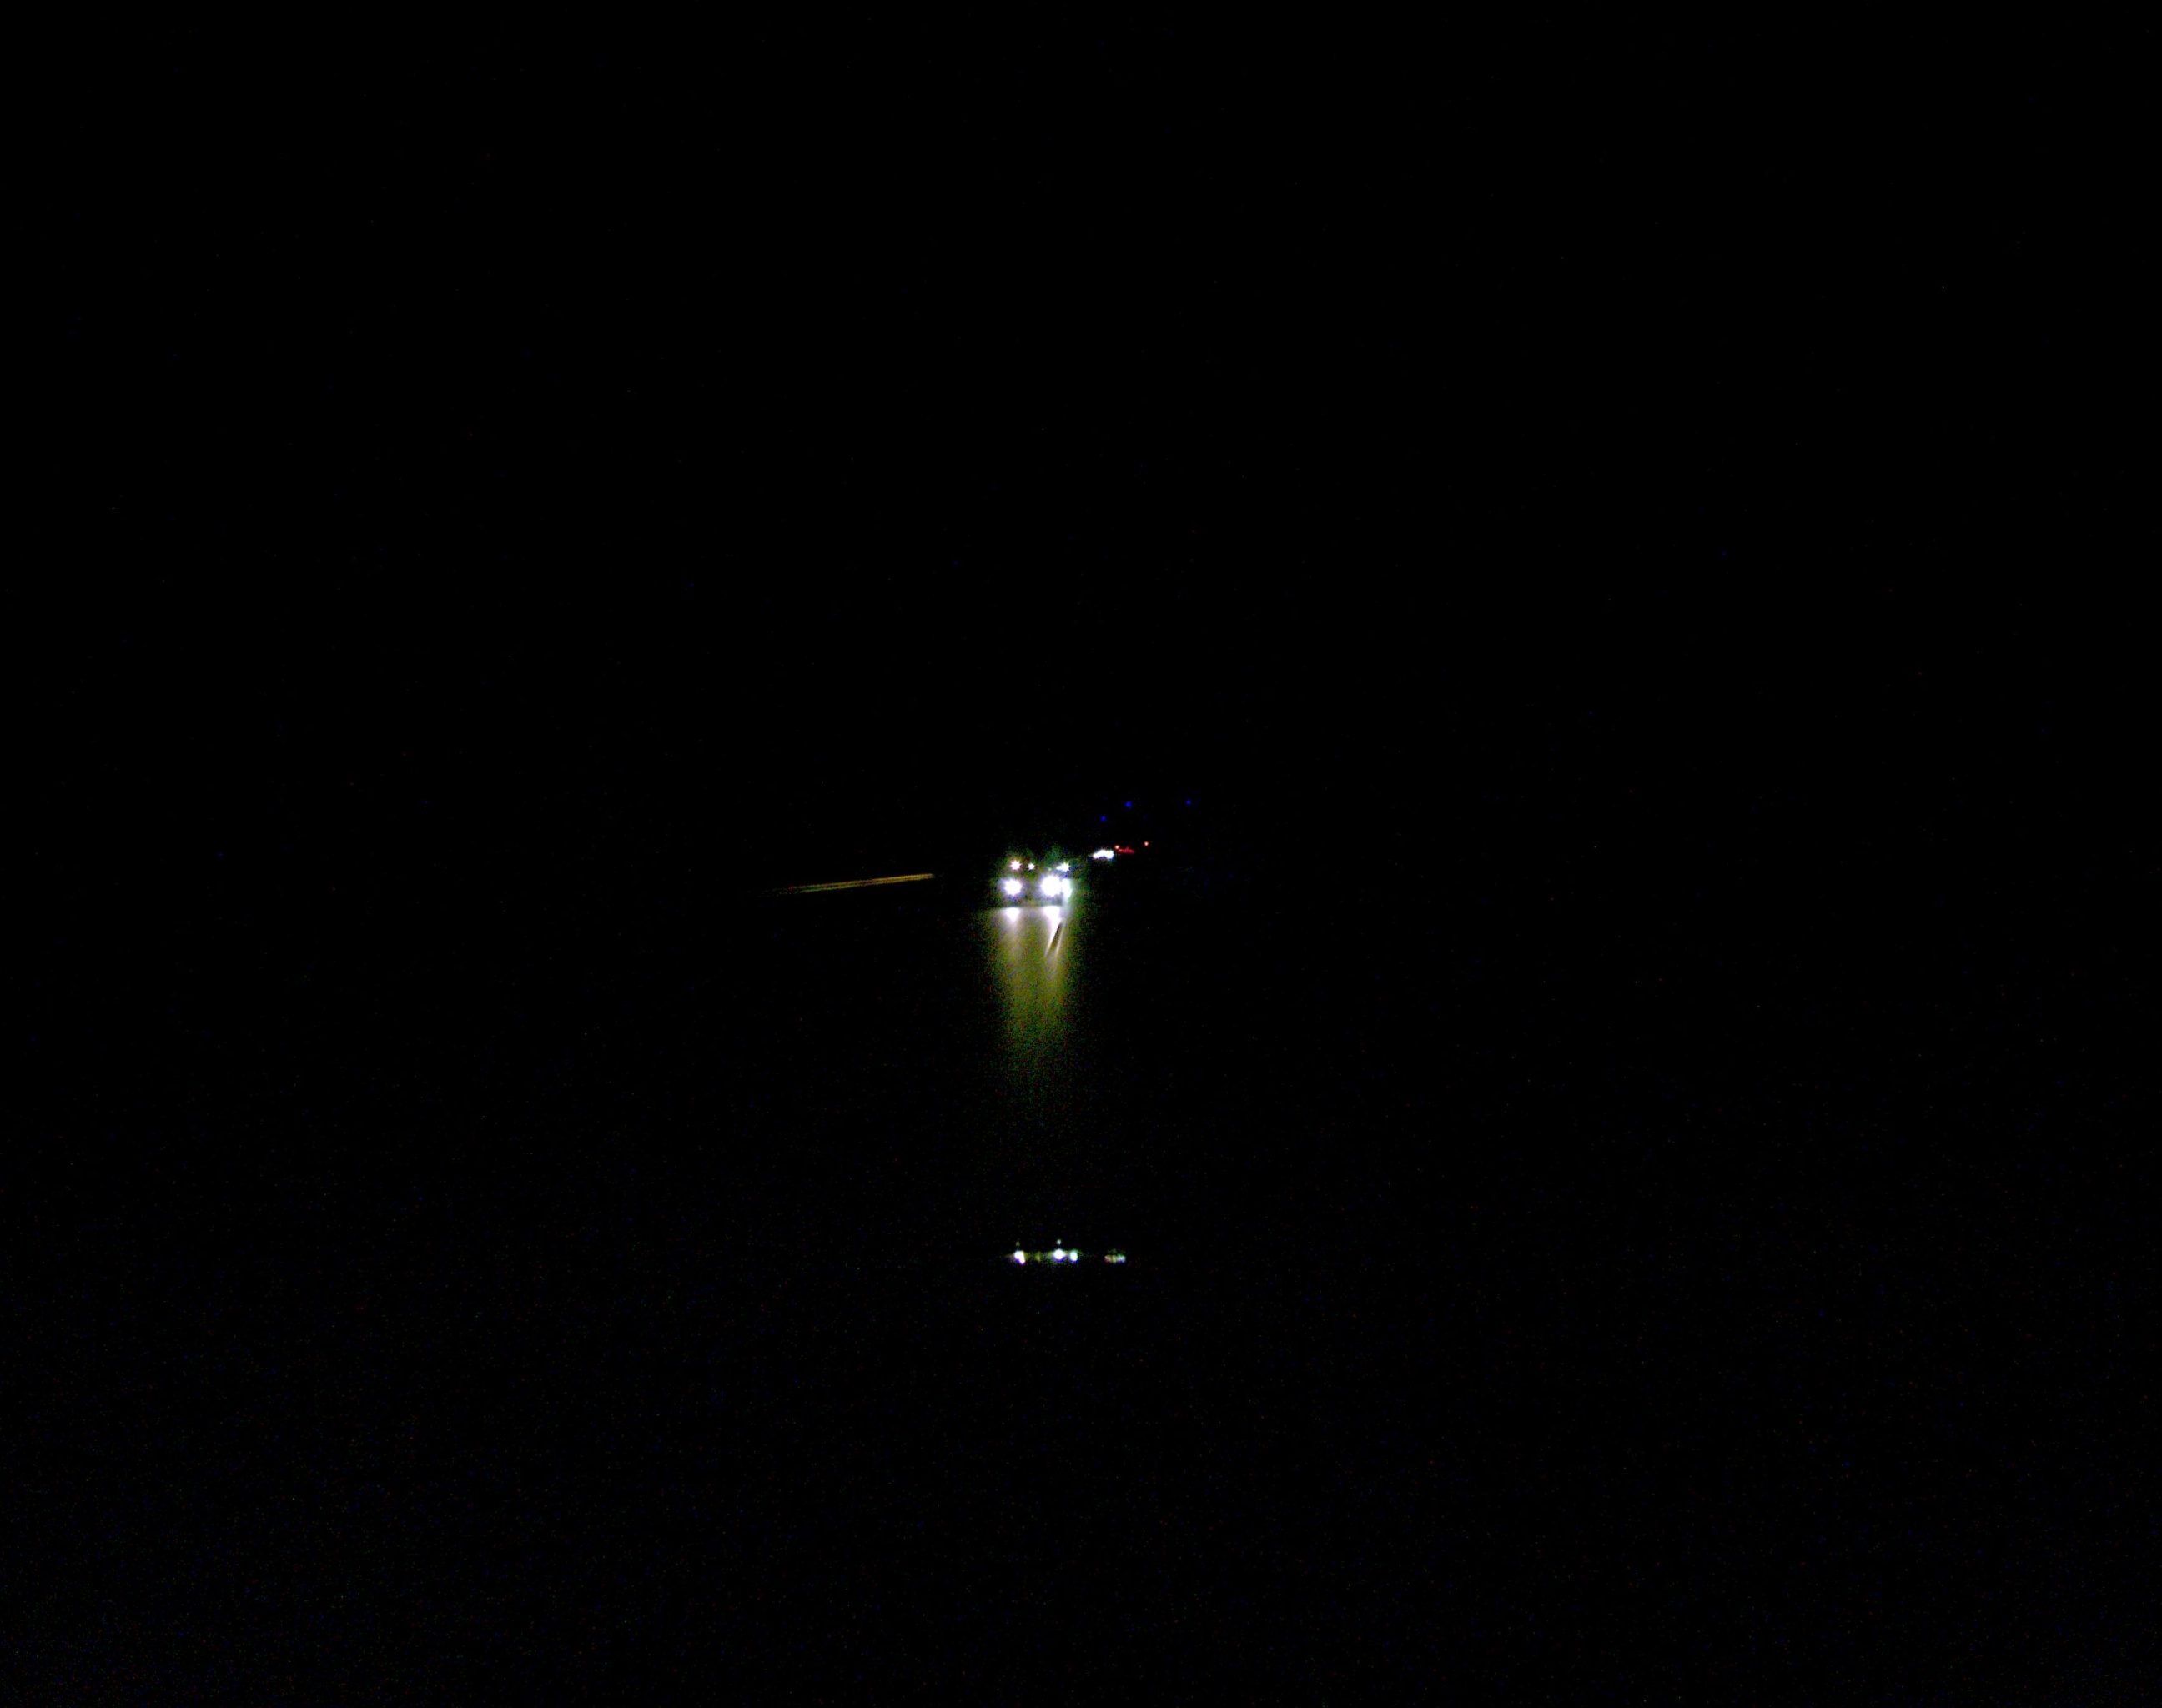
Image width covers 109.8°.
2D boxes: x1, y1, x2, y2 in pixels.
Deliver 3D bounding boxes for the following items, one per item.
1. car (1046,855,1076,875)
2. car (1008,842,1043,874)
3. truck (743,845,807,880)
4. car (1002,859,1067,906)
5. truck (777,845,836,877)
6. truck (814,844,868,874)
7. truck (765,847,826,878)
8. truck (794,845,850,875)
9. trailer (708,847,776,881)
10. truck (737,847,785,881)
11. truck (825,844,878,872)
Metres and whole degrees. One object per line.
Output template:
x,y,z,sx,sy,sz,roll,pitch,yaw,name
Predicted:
-1.532,0.831,59.744,1.998,1.455,4.000,-2,0,2,car
-5.247,0.357,72.937,2.534,2.888,6.228,-2,0,2,car
-36.885,1.096,91.332,9.637,3.902,3.066,-2,1,43,truck
-1.545,0.931,26.631,1.833,1.404,4.000,-2,0,2,car
-36.962,0.970,102.039,9.637,3.902,3.066,-2,1,43,truck
-35.131,0.770,110.964,9.637,3.902,2.965,-2,1,43,truck
-36.203,1.121,96.158,9.637,3.667,3.066,-2,1,43,truck
-36.697,0.890,107.528,9.637,3.902,3.066,-2,1,43,truck
-39.862,1.279,88.946,12.962,3.644,2.547,-2,1,45,trailer
-35.766,1.168,84.843,2.537,3.628,6.193,-4,1,-45,truck
-34.880,0.705,115.260,9.637,3.902,3.066,-2,1,43,truck
